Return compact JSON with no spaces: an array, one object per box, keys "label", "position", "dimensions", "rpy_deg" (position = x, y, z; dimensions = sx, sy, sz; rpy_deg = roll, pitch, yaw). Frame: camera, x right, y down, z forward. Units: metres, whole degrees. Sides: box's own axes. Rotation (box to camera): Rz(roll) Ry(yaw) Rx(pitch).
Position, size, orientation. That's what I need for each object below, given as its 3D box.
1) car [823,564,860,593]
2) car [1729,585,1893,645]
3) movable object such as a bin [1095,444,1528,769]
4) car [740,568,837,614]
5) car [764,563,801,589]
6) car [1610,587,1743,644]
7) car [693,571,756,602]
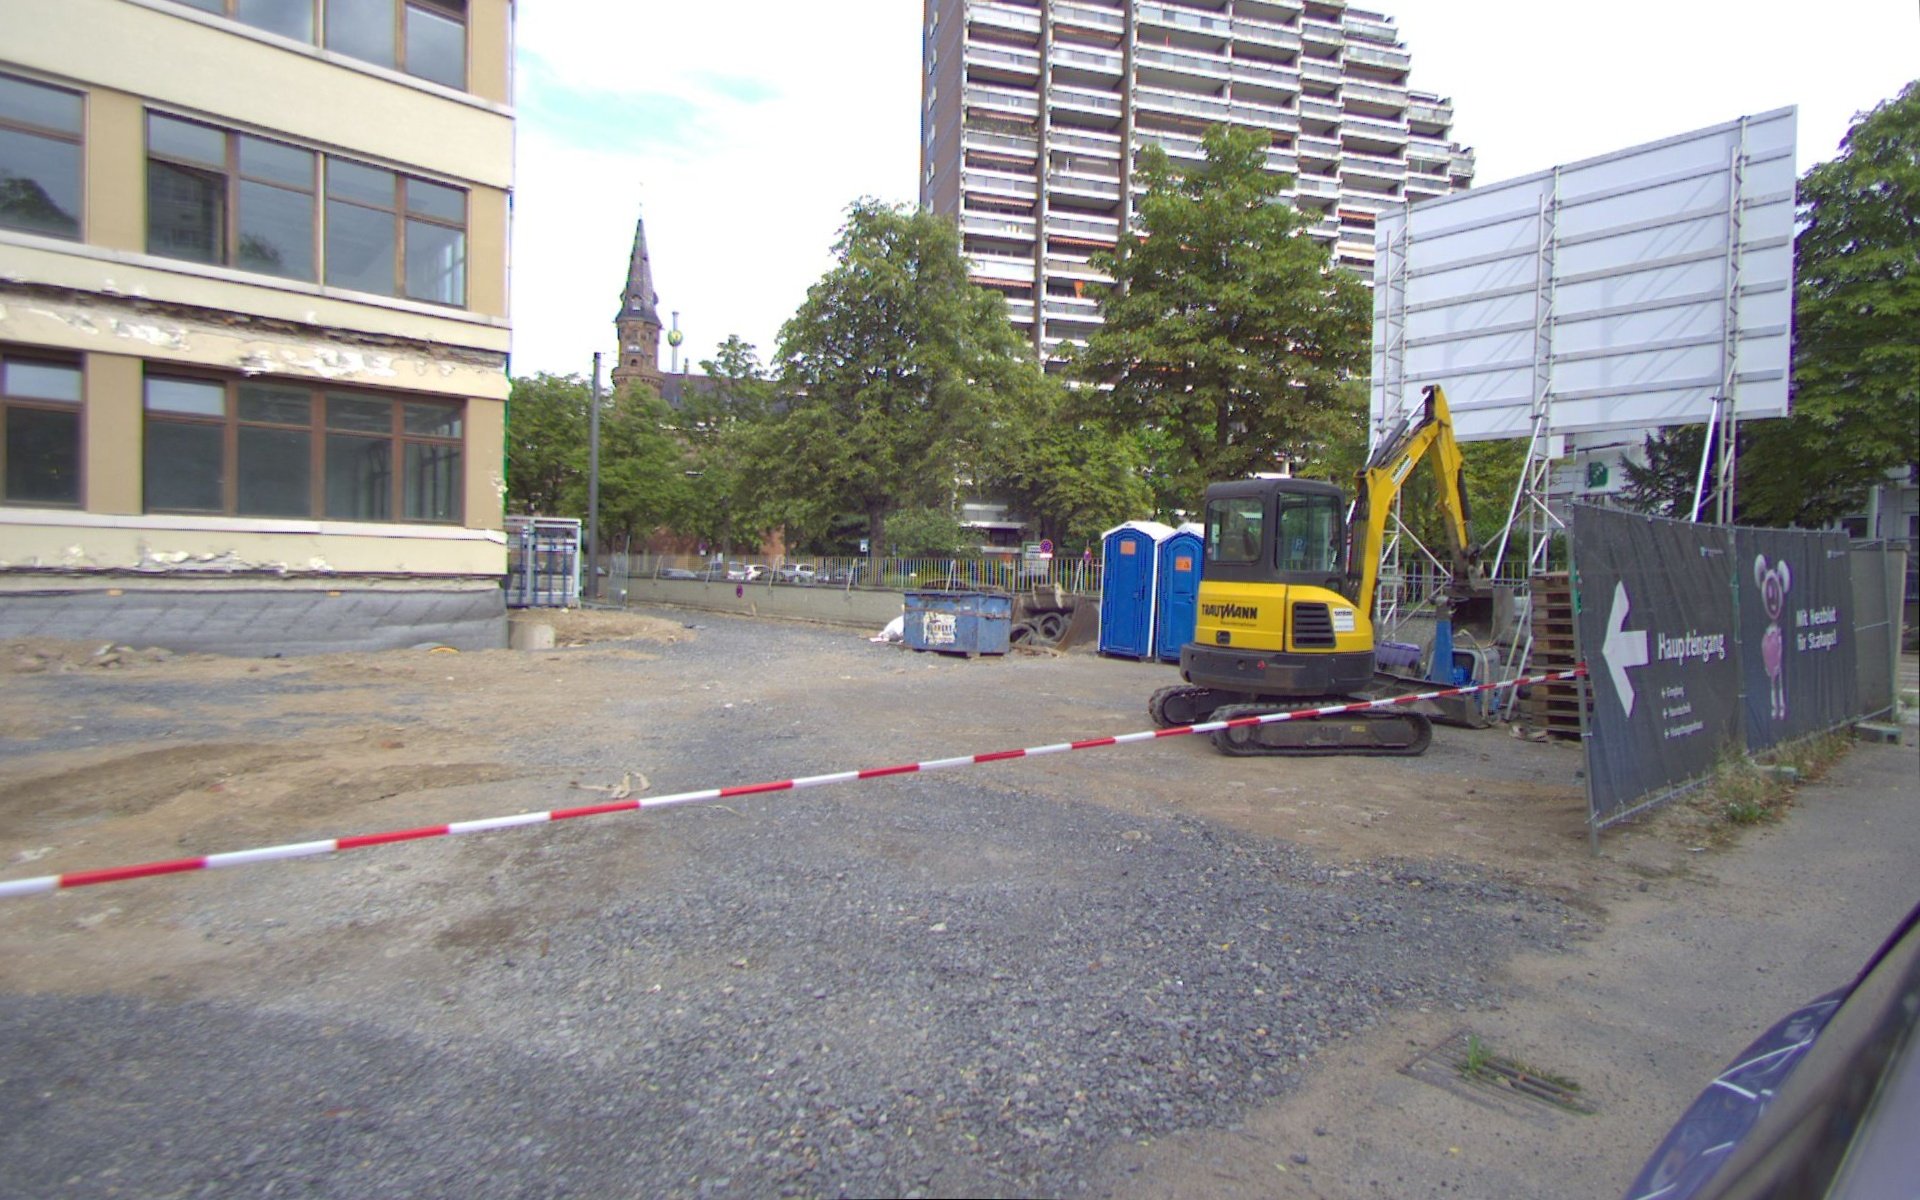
[{"label":"car","position":[-7.122,-1.300,61.162],"dimensions":[1.651,1.622,3.644],"rpy_deg":[1,1,3]},{"label":"car","position":[22.670,0.336,27.148],"dimensions":[1.654,1.437,3.638],"rpy_deg":[1,1,9]},{"label":"movable object such as a bin","position":[3.264,0.022,9.576],"dimensions":[3.000,2.473,2.500],"rpy_deg":[1,1,-32]},{"label":"car","position":[-6.277,-0.361,36.809],"dimensions":[1.613,1.515,3.956],"rpy_deg":[1,2,-42]},{"label":"car","position":[-11.573,-1.560,66.229],"dimensions":[1.651,1.622,3.644],"rpy_deg":[1,1,3]},{"label":"car","position":[20.778,0.394,29.522],"dimensions":[1.654,1.493,3.638],"rpy_deg":[1,1,9]},{"label":"car","position":[-14.038,-0.833,60.188],"dimensions":[1.786,1.722,4.612],"rpy_deg":[0,1,-40]}]
